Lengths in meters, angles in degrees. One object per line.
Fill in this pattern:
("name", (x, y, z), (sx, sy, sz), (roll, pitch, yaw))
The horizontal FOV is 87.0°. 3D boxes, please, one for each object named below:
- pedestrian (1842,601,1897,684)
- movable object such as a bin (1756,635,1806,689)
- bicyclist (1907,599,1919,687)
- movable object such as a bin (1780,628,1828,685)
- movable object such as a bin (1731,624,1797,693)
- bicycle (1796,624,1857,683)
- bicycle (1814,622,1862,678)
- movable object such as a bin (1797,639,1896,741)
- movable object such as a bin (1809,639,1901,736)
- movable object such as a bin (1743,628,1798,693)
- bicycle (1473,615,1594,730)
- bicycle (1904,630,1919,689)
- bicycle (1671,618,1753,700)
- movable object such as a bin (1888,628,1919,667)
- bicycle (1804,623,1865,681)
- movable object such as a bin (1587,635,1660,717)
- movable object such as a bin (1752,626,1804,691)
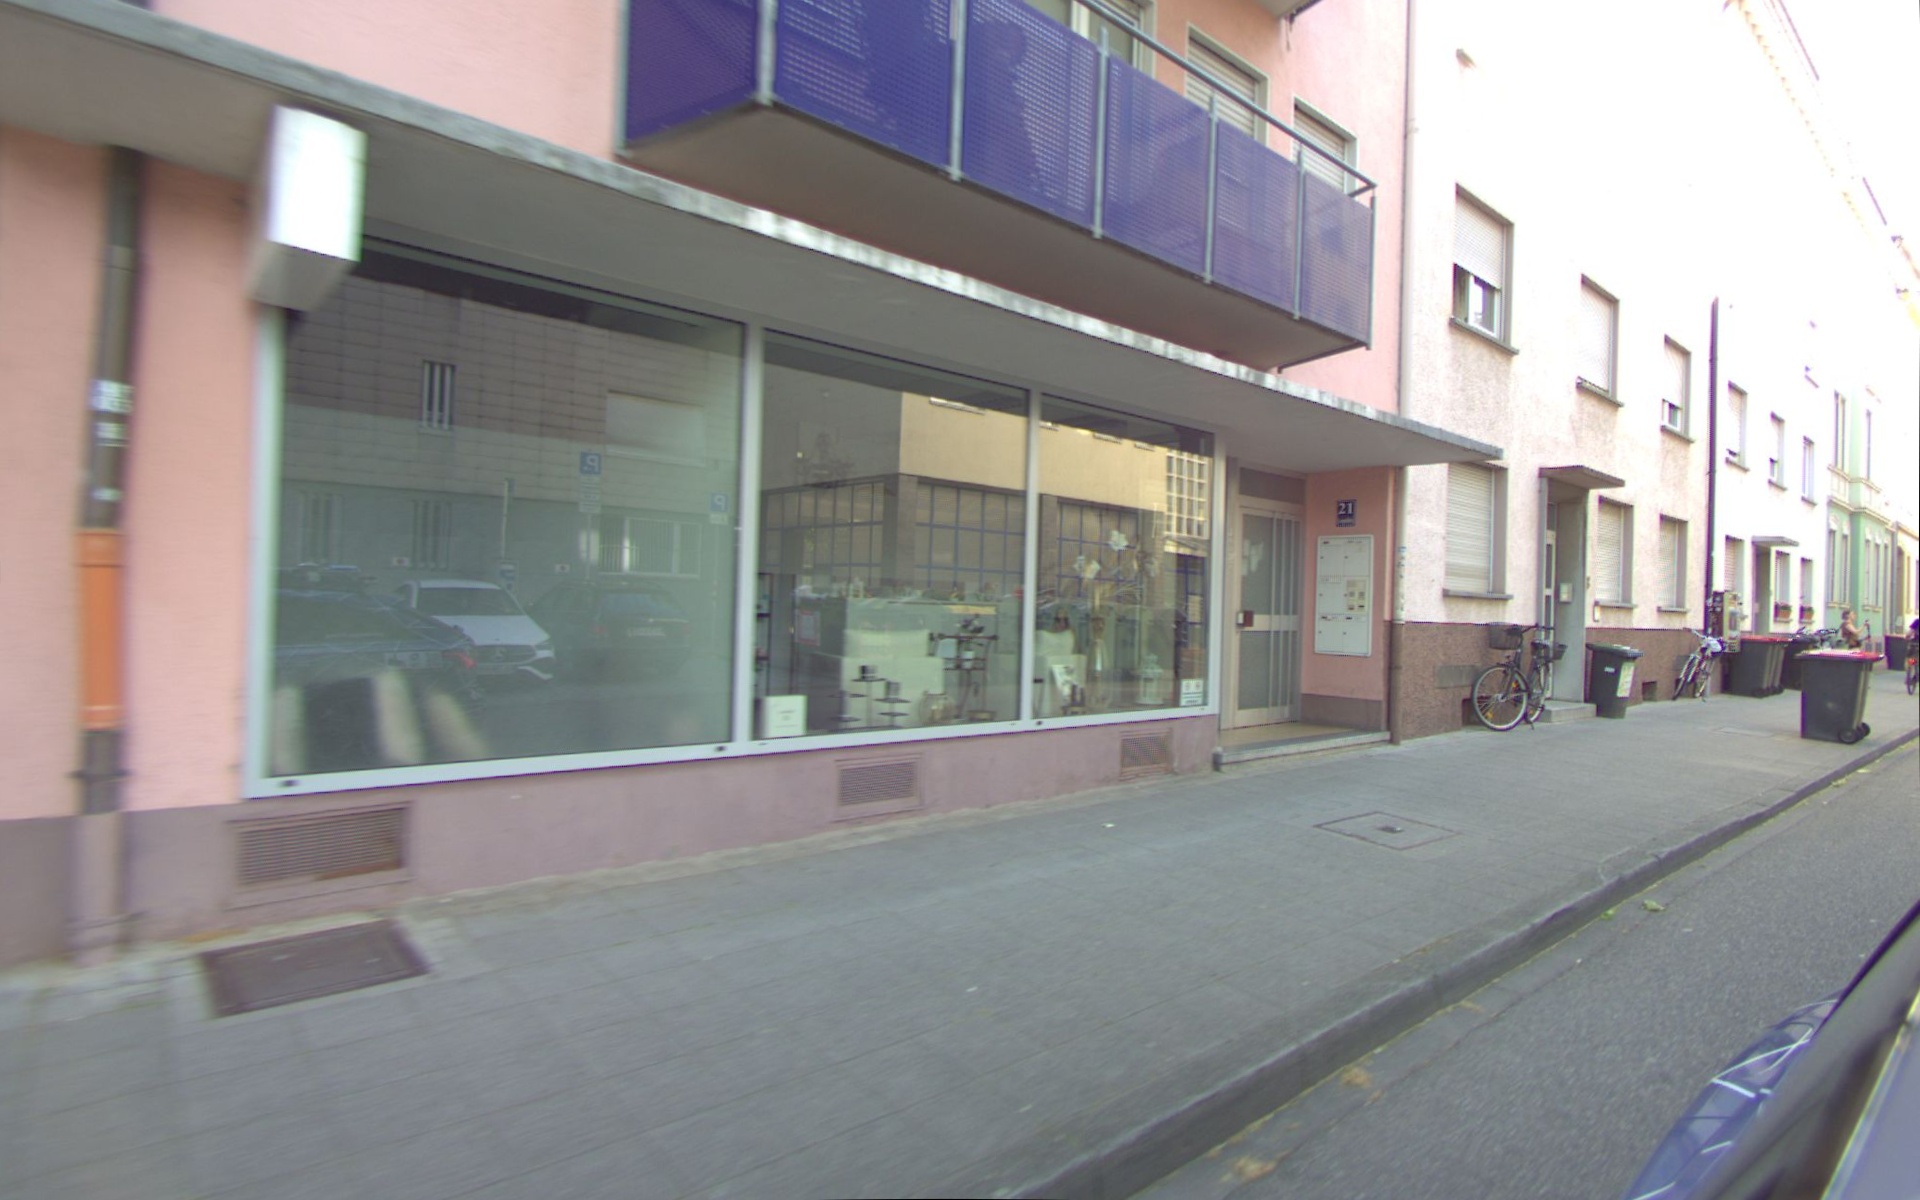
("pedestrian", (19.578, 0.902, 21.791), (0.672, 1.733, 0.658), (1, 0, -28))
("movable object such as a bin", (15.416, 1.152, 19.004), (0.594, 0.946, 0.607), (2, 0, -39))
("bicyclist", (20.101, 0.917, 20.814), (0.808, 1.792, 0.761), (3, 1, -43))
("movable object such as a bin", (17.012, 1.131, 20.395), (0.592, 1.075, 0.617), (2, 1, -41))
("movable object such as a bin", (14.136, 1.017, 17.797), (0.628, 1.111, 0.741), (1, 3, -39))
("bicycle", (18.452, 1.121, 21.548), (1.833, 1.168, 0.570), (1, 0, -36))
("bicycle", (20.163, 1.126, 23.216), (2.119, 1.221, 0.406), (1, 0, -38))
("movable object such as a bin", (10.449, 1.034, 11.936), (0.680, 1.100, 0.769), (1, 0, -39))
("movable object such as a bin", (10.972, 1.045, 12.403), (0.691, 1.094, 0.734), (1, 0, -39))
("movable object such as a bin", (14.566, 1.078, 18.193), (0.582, 1.119, 0.658), (2, 0, -39))
("bicycle", (6.355, 0.763, 11.165), (1.885, 1.148, 0.454), (1, 2, -39))
("bicycle", (19.894, 1.238, 20.687), (1.954, 1.151, 0.664), (3, 2, -43))
("bicycle", (11.980, 0.912, 16.101), (2.040, 1.184, 0.538), (2, 4, -41))
("movable object such as a bin", (28.251, 1.399, 30.118), (0.661, 1.102, 0.814), (1, 0, -38))
("bicycle", (19.251, 1.119, 22.261), (2.222, 1.221, 0.439), (1, 0, -34))
("movable object such as a bin", (8.434, 0.945, 12.868), (0.670, 0.963, 0.599), (1, 0, -40))
("movable object such as a bin", (14.991, 1.057, 18.545), (0.559, 1.136, 0.629), (1, 0, -39))
